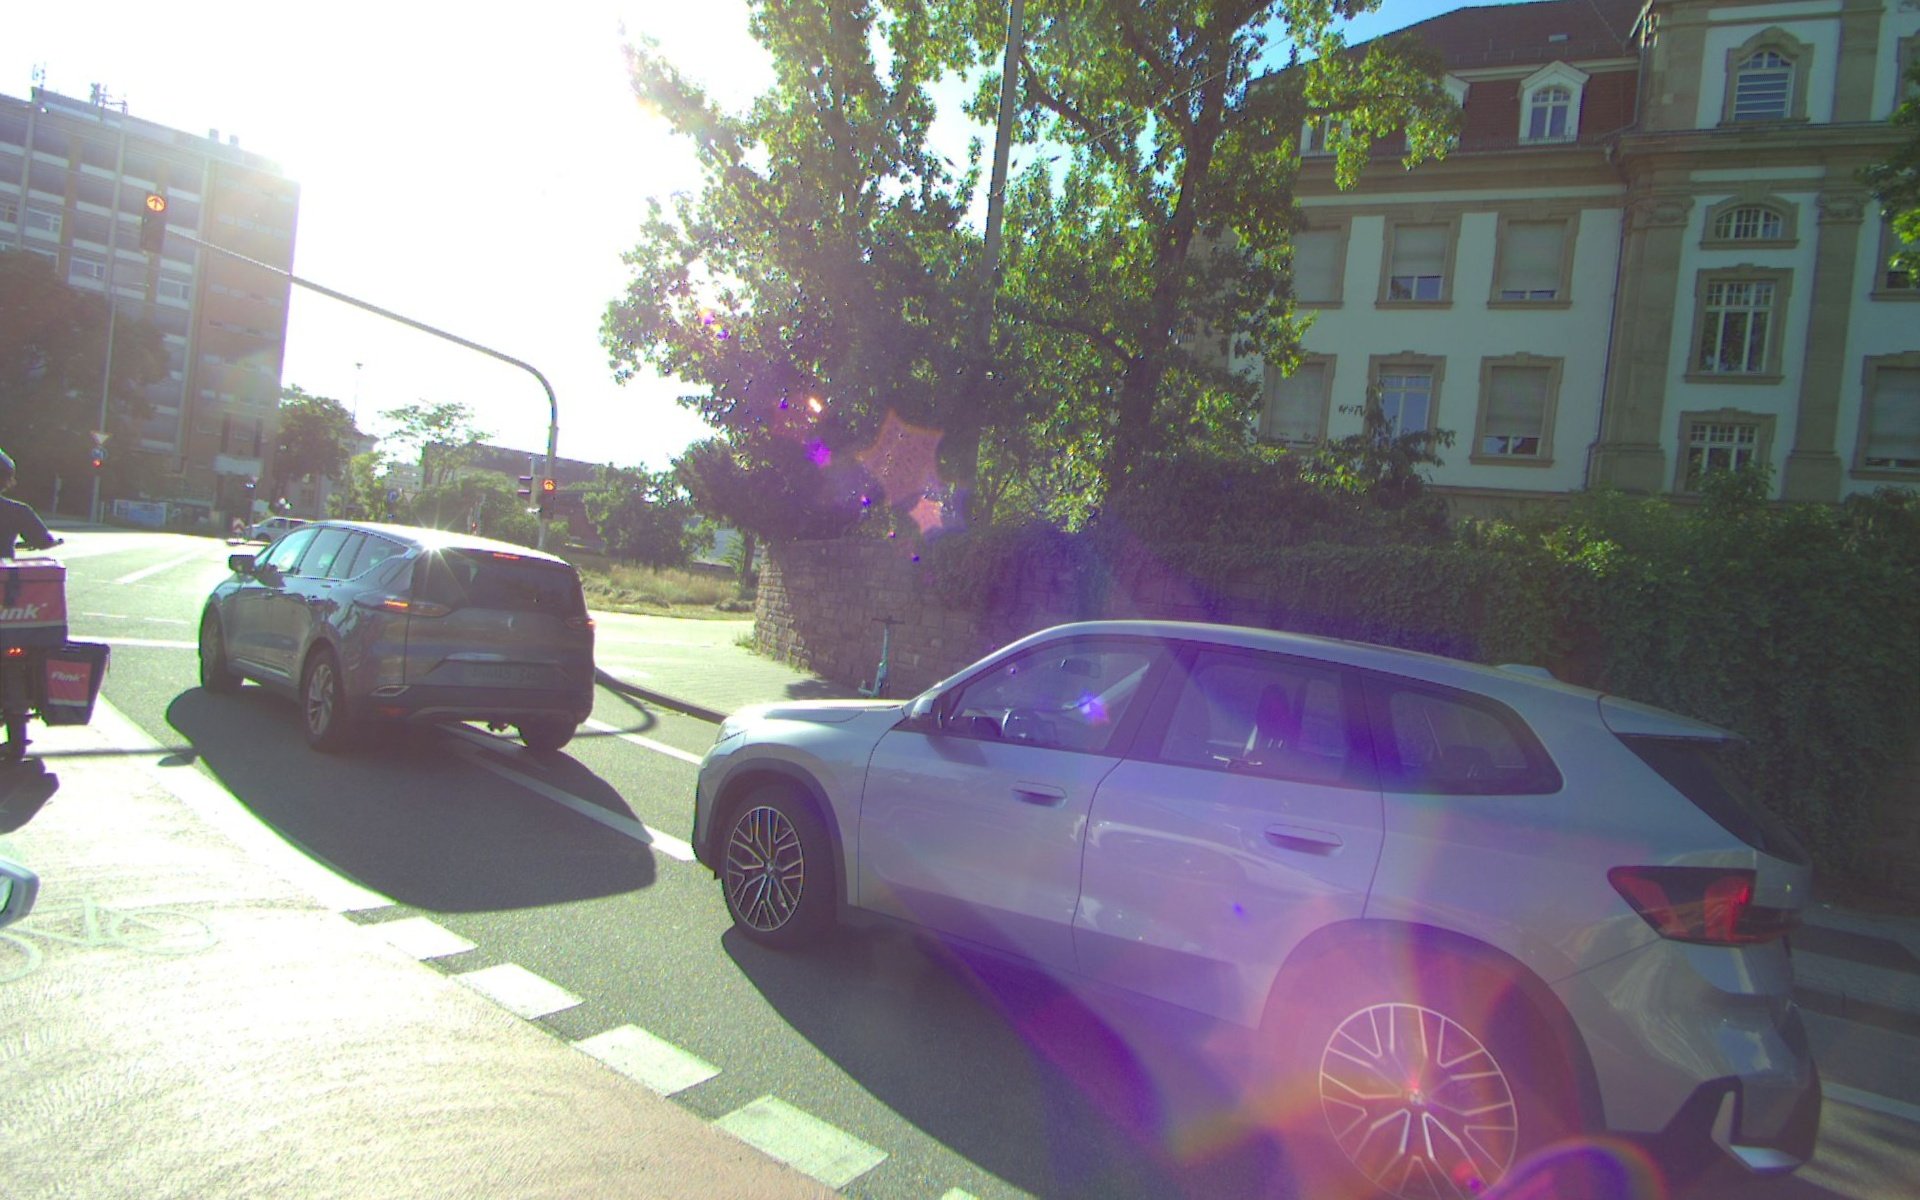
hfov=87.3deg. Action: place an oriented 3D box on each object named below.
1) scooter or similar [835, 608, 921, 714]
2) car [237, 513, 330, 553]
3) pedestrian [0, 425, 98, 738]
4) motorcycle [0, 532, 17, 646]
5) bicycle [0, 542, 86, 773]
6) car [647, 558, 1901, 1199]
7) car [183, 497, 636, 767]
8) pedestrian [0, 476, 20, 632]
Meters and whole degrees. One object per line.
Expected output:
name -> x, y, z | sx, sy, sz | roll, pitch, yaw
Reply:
scooter or similar -> -1.157, 0.819, 13.884 | 0.569, 1.285, 1.414 | 6, 0, -27
car -> -44.886, -4.423, 66.831 | 1.887, 1.969, 4.686 | 7, 0, 39
pedestrian -> -6.218, -0.146, 6.395 | 0.943, 1.890, 0.806 | 6, -1, 40
motorcycle -> -8.937, -0.082, 8.923 | 0.611, 1.110, 2.334 | 8, -2, -41
bicycle -> -5.992, 0.256, 6.180 | 2.340, 1.185, 0.553 | 6, -2, 42
car -> 0.824, 0.883, 4.245 | 4.263, 1.612, 1.788 | 6, -2, 37
car -> -4.839, 0.163, 8.557 | 4.307, 1.709, 1.830 | 6, -2, 40
pedestrian -> -8.712, -0.301, 8.750 | 0.585, 1.617, 1.013 | 8, -1, -41
